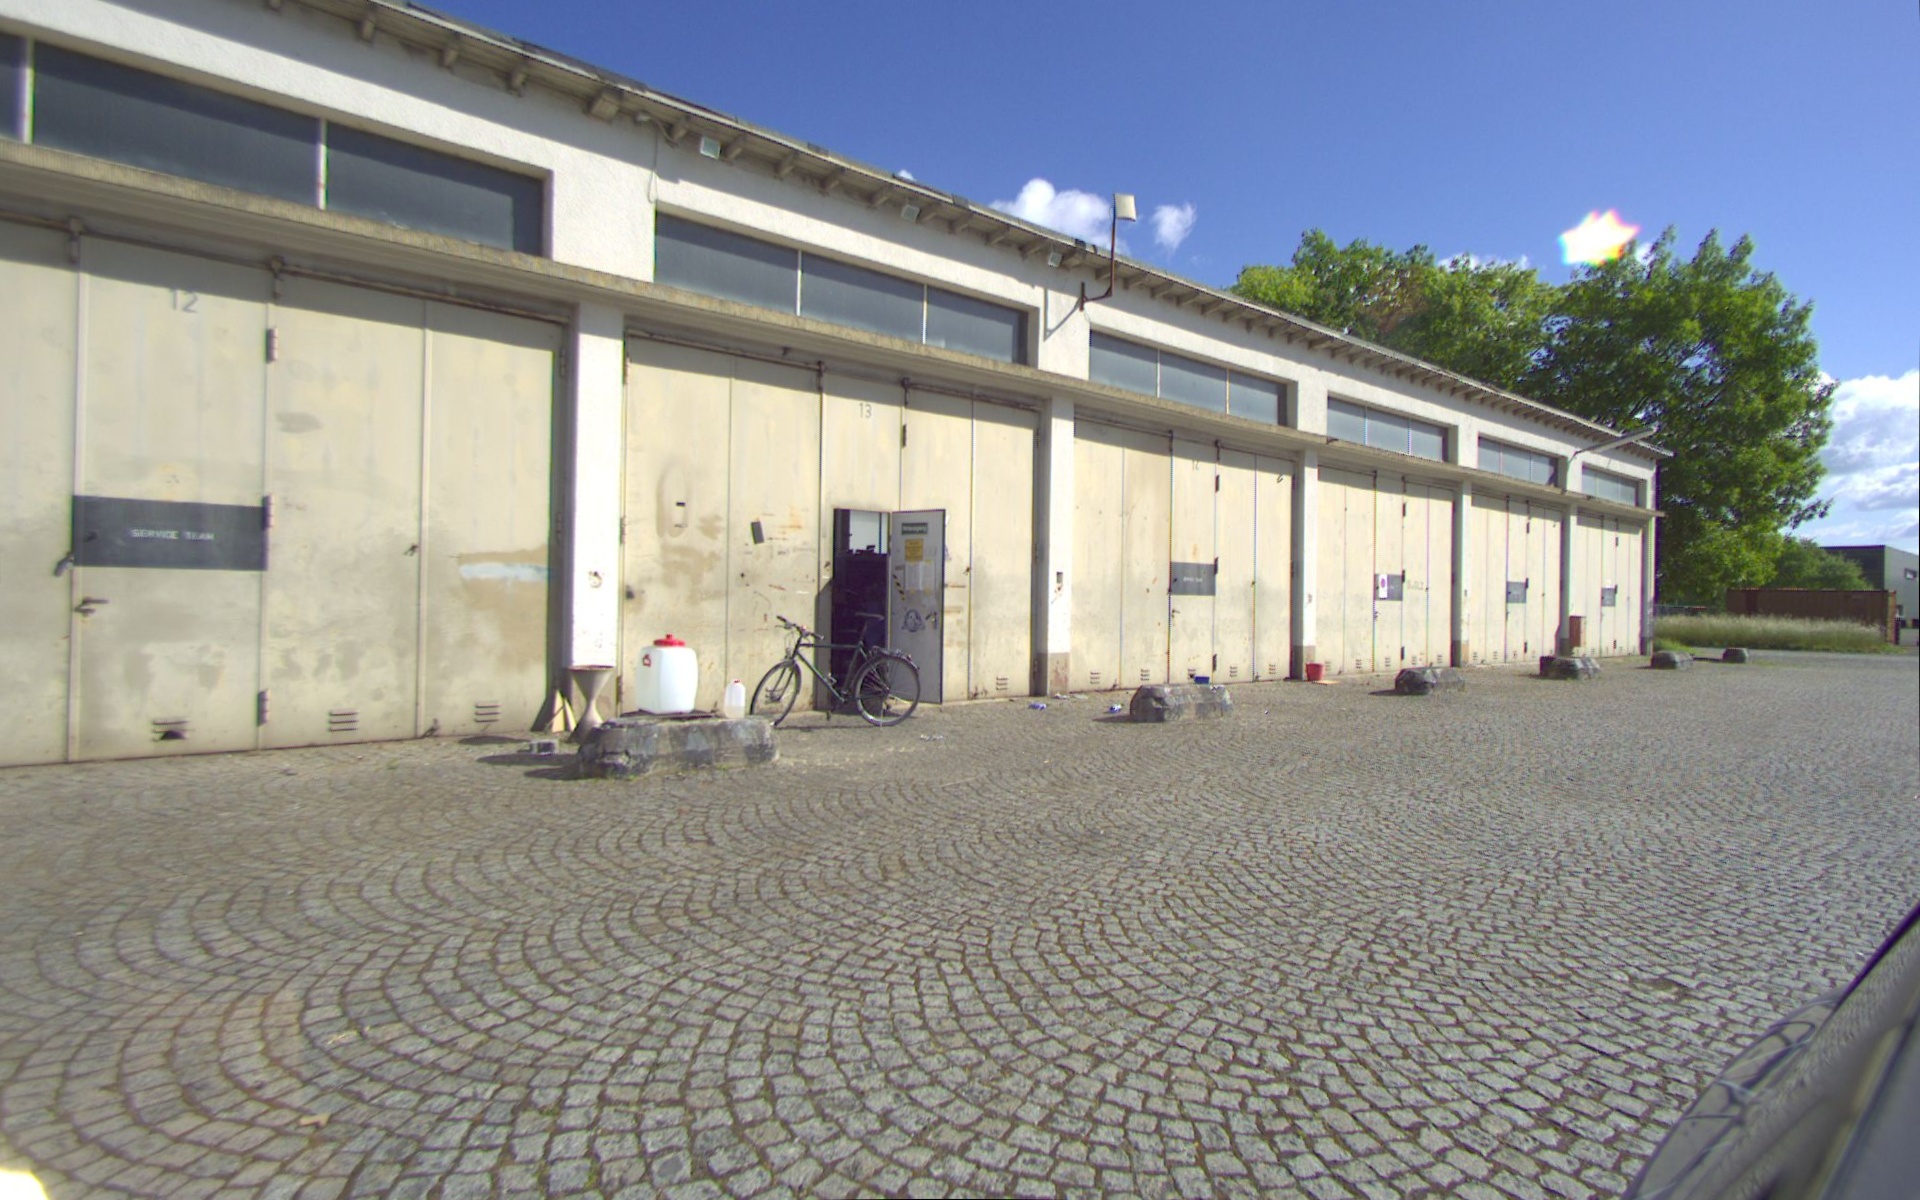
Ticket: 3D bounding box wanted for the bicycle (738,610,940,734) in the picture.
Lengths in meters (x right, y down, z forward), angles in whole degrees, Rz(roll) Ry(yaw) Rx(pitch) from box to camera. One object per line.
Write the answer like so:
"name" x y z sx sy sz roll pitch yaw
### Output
"bicycle" -1.141 0.640 9.621 1.787 1.081 0.667 0 -1 -28
